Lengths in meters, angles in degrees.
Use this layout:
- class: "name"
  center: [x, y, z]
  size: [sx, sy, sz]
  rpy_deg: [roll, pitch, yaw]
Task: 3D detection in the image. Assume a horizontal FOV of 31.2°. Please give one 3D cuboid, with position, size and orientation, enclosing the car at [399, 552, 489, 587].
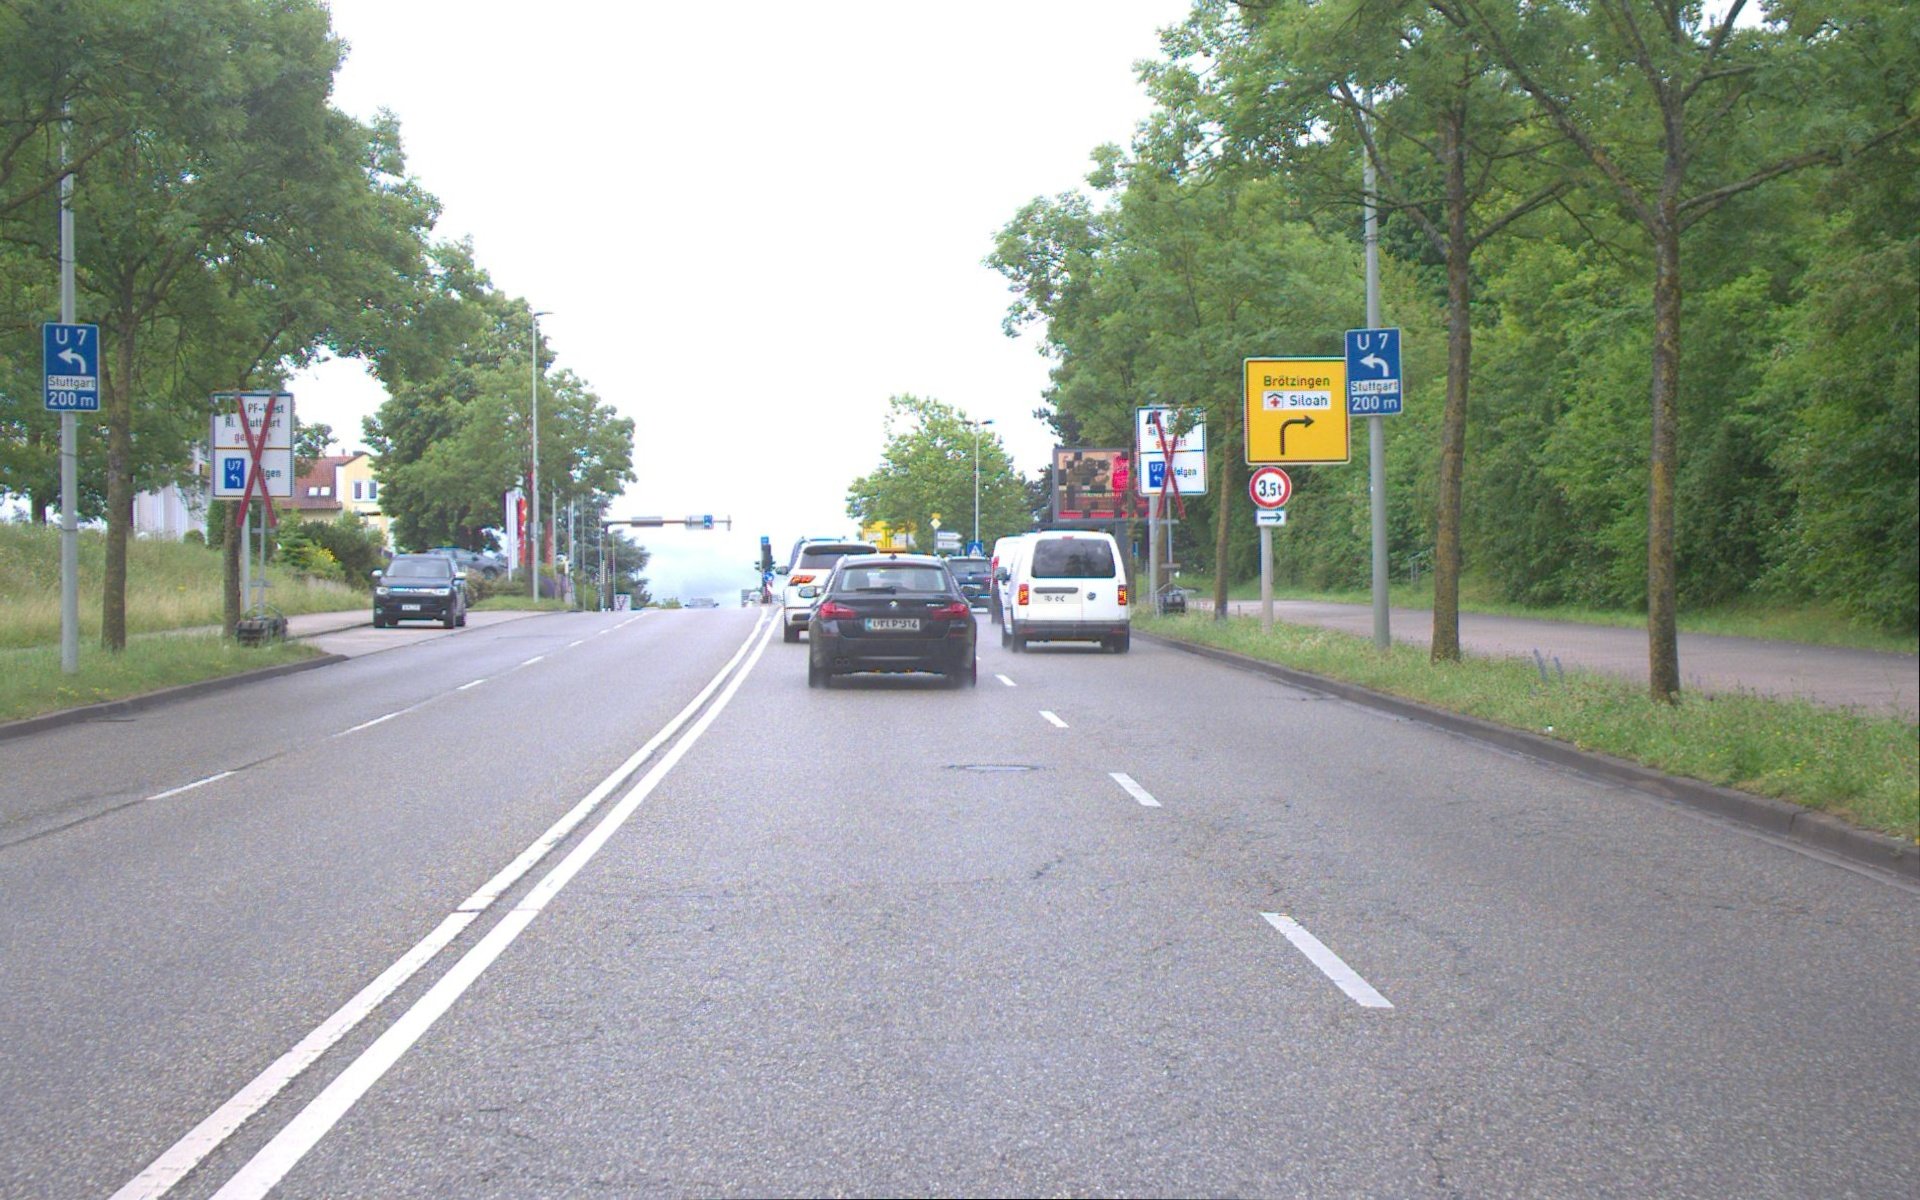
- class: "car"
  center: [-22.392, -1.319, 149.171]
  size: [3.825, 1.477, 1.742]
  rpy_deg: [-1, 0, -9]

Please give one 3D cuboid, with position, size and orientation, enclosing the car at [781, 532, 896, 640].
- class: "car"
  center: [-1.971, -0.238, 56.478]
  size: [1.728, 1.705, 3.382]
  rpy_deg: [1, 1, 1]

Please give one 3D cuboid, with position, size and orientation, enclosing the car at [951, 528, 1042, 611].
- class: "car"
  center: [0.756, -0.652, 73.435]
  size: [1.814, 1.702, 3.946]
  rpy_deg: [-1, 1, -1]

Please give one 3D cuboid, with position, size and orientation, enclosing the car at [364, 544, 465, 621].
- class: "car"
  center: [-12.313, -0.409, 77.747]
  size: [1.726, 1.662, 4.488]
  rpy_deg: [1, 1, -2]

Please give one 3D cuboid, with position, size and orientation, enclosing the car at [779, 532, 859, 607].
- class: "car"
  center: [-3.321, -0.734, 81.510]
  size: [1.758, 1.702, 3.946]
  rpy_deg: [-1, 1, -1]

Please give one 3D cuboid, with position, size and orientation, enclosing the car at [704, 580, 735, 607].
- class: "car"
  center: [-14.439, -0.405, 206.625]
  size: [1.795, 1.578, 4.199]
  rpy_deg: [-2, 1, -4]

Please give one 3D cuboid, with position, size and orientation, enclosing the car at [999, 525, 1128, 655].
- class: "car"
  center: [1.526, -0.175, 51.894]
  size: [1.741, 1.863, 3.946]
  rpy_deg: [1, 1, -1]

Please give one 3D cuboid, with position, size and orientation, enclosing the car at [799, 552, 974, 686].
- class: "car"
  center: [-0.794, 0.180, 38.713]
  size: [1.855, 1.414, 3.957]
  rpy_deg: [1, 1, 0]

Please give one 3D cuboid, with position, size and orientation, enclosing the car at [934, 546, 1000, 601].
- class: "car"
  center: [0.171, -0.699, 88.714]
  size: [1.600, 1.367, 3.680]
  rpy_deg: [-1, 1, -1]
